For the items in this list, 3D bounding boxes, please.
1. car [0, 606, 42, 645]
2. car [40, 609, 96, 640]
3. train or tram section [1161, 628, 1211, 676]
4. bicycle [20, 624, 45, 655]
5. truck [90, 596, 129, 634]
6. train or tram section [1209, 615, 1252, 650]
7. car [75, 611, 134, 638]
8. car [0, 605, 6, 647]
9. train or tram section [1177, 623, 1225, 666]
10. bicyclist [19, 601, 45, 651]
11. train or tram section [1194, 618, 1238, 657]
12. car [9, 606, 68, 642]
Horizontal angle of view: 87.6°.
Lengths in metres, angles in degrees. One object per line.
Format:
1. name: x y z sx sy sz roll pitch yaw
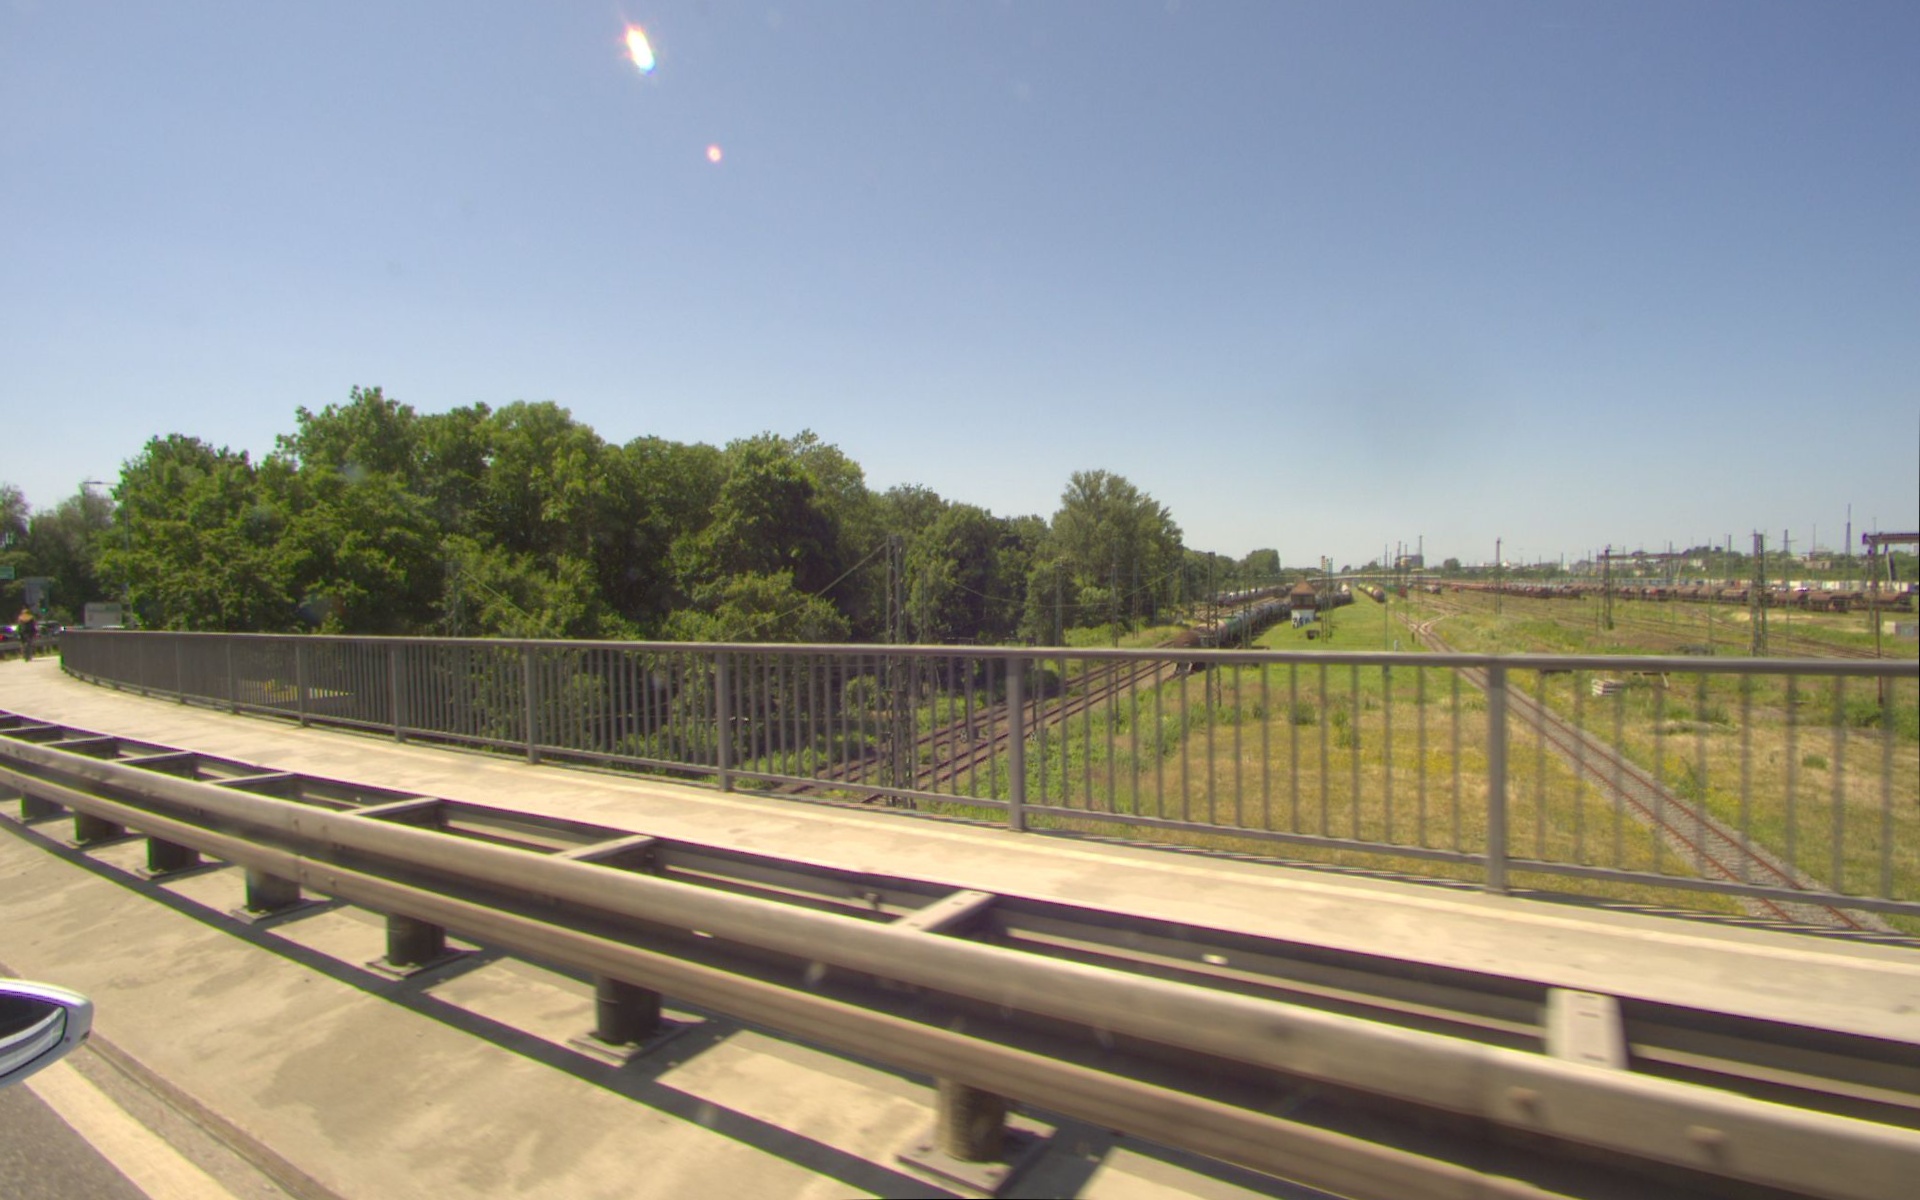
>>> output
1. car: -46.606 1.233 49.082 1.703 1.868 3.975 1 -1 -33
2. car: -53.902 1.515 60.581 1.666 1.783 3.982 1 -2 -29
3. train or tram section: 25.108 5.619 110.579 3.784 4.365 13.601 -2 1 19
4. bicycle: -32.252 1.359 34.824 0.577 1.049 1.471 -3 1 -42
5. truck: -67.952 1.203 80.051 2.317 2.911 5.890 1 -1 -40
6. train or tram section: 40.223 4.702 148.394 3.789 4.365 13.583 -2 1 25
7. car: -57.099 1.667 66.890 1.969 1.594 3.987 2 -4 -26
8. car: -42.048 1.115 42.419 1.704 1.826 3.974 1 -1 -34
9. train or tram section: 29.816 5.319 123.383 3.787 4.365 13.592 -2 1 22
10. bicyclist: -32.206 0.902 34.757 0.573 1.705 0.722 -3 2 -43
11. train or tram section: 34.850 5.006 135.980 3.787 4.365 13.589 -2 1 23
12. car: -50.243 1.313 54.680 1.703 1.868 3.975 1 -1 -33
